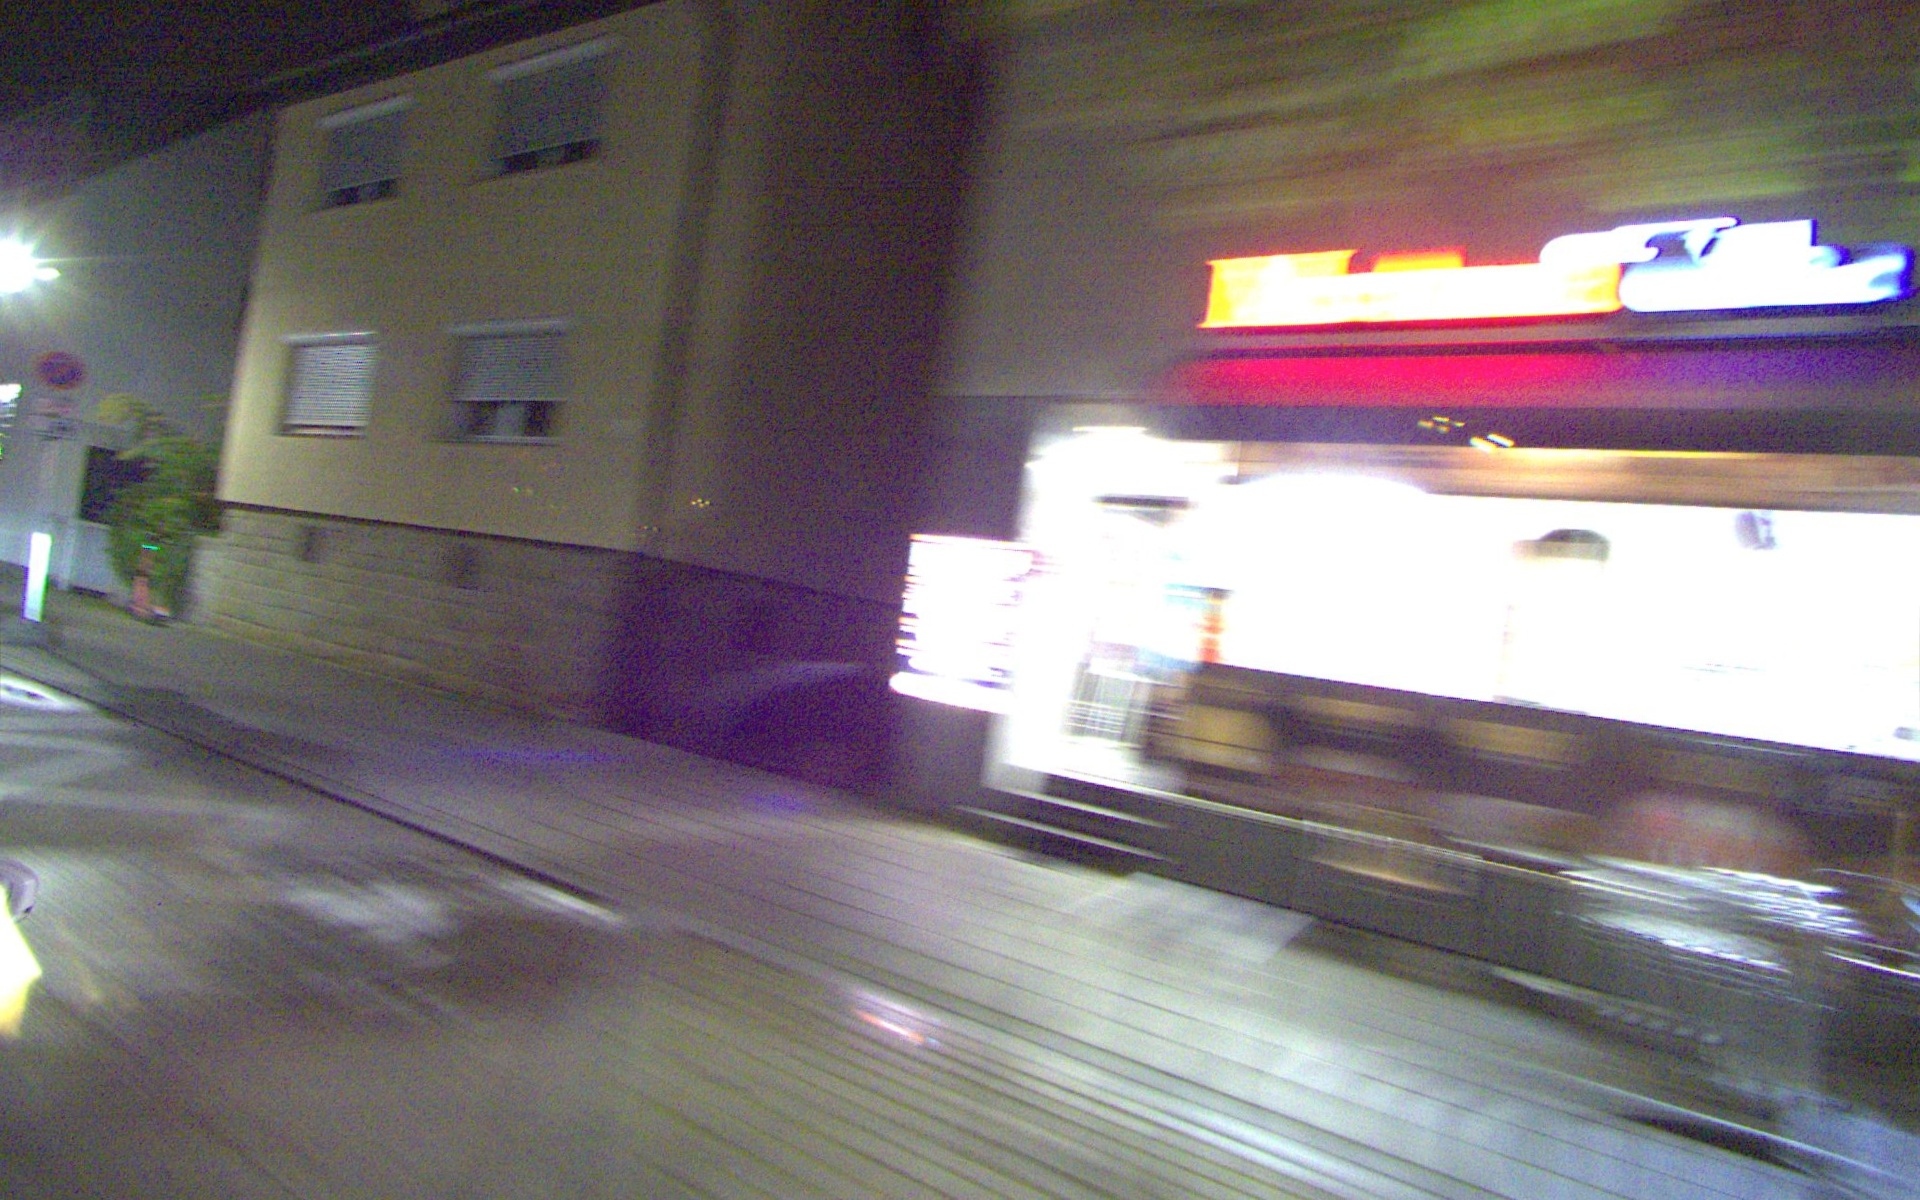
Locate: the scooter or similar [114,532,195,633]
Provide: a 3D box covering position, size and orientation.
[{"bbox_3d":[-11.264,-0.250,14.057,1.284,1.291,0.373,6,-1,33],"label":"scooter or similar"}]
